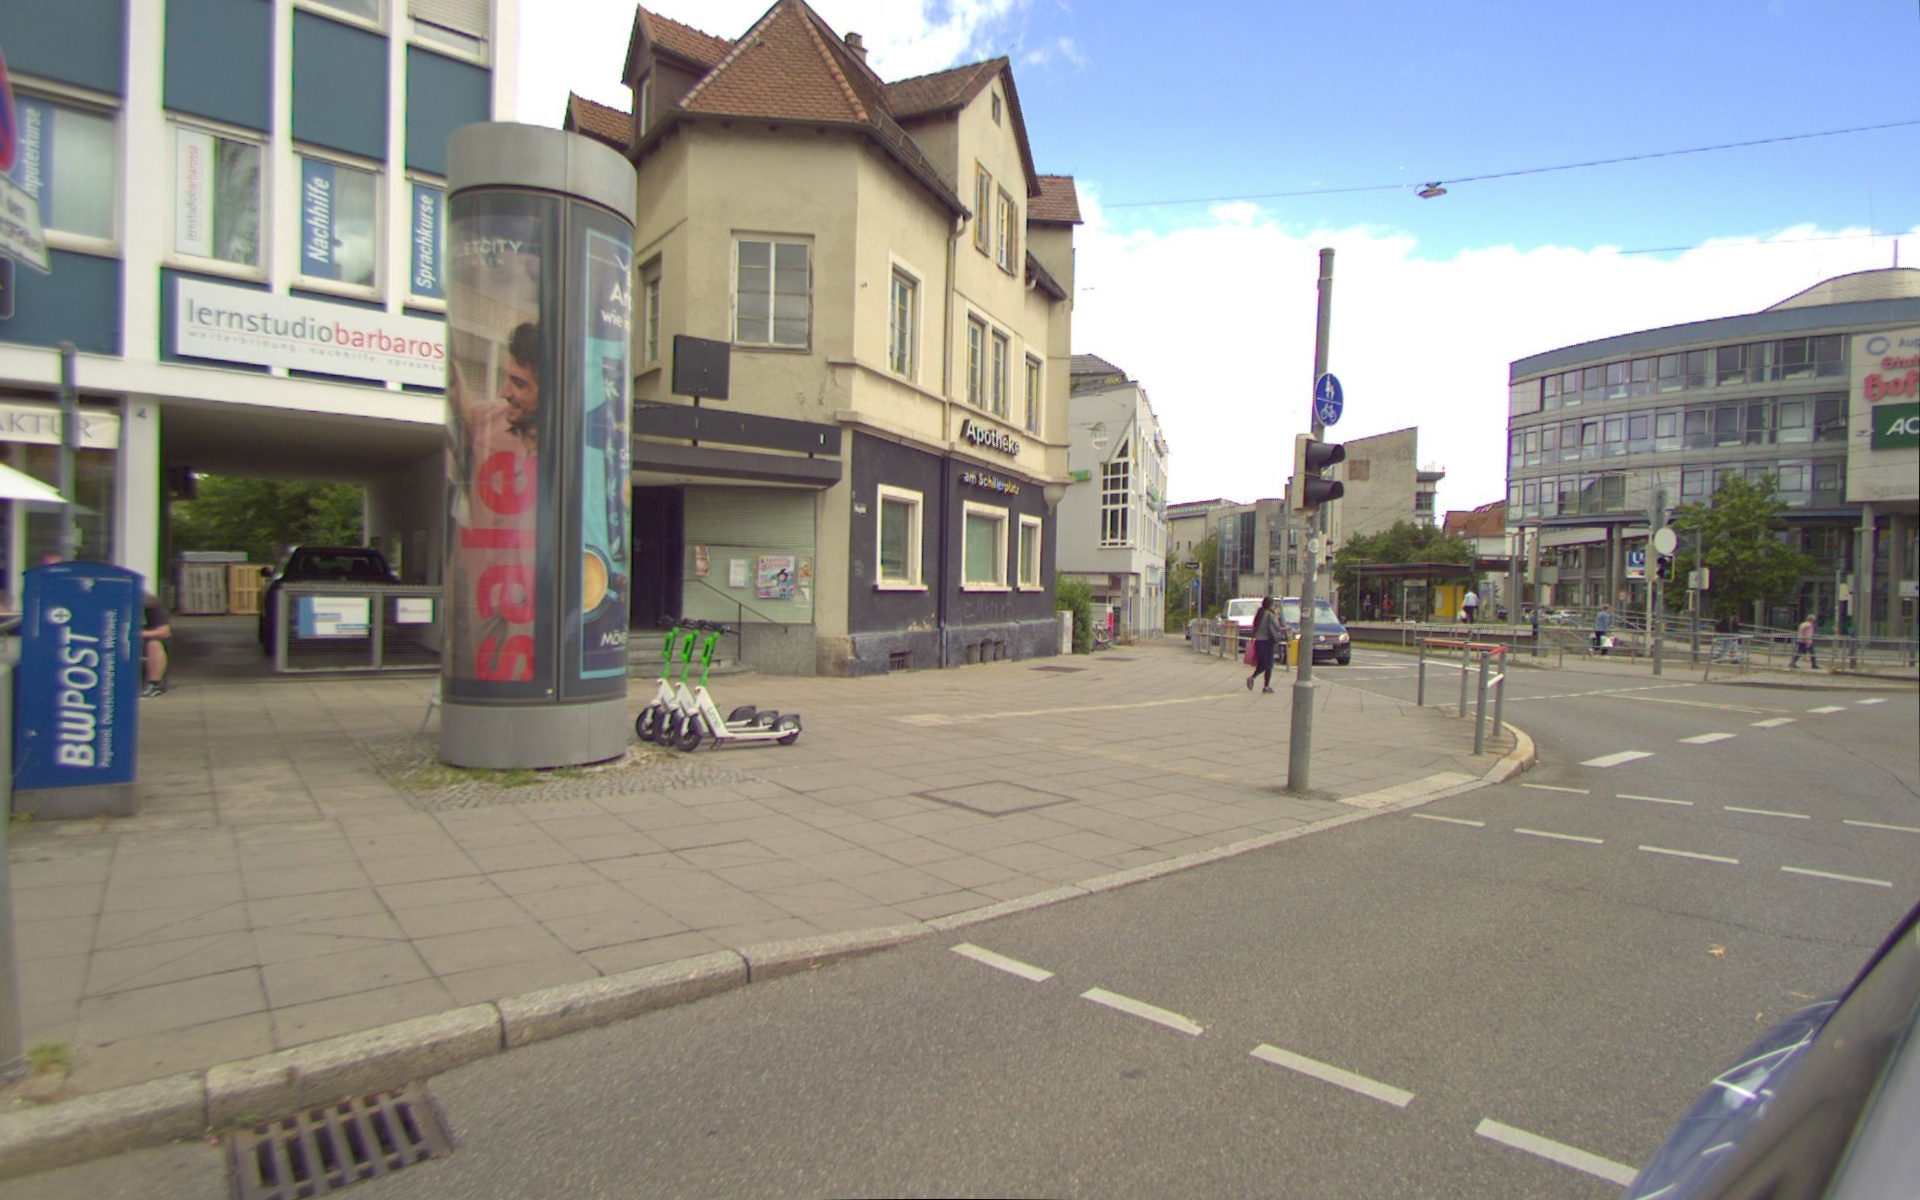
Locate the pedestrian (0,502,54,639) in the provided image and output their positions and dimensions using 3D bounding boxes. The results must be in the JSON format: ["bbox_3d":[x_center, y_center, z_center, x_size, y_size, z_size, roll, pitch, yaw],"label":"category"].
[{"bbox_3d":[-10.440,-0.308,11.186,0.577,1.480,0.614,2,-3,-40],"label":"pedestrian"}]

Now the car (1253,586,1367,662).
[{"bbox_3d":[9.672,0.591,28.377,1.847,1.919,4.921,1,0,5],"label":"car"}]

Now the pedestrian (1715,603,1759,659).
[{"bbox_3d":[23.481,0.929,30.599,0.834,1.656,0.641,-1,-2,18],"label":"pedestrian"}]

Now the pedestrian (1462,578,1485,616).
[{"bbox_3d":[24.029,-0.129,47.351,0.682,1.766,0.615,0,-2,-3],"label":"pedestrian"}]

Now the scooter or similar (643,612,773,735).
[{"bbox_3d":[-2.468,0.699,9.976,1.186,1.147,0.315,1,0,-38],"label":"scooter or similar"}]

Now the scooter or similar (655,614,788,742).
[{"bbox_3d":[-2.259,0.720,9.641,1.186,1.147,0.315,1,0,-38],"label":"scooter or similar"}]

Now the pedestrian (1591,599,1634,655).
[{"bbox_3d":[20.304,0.820,31.497,0.793,1.668,0.886,1,0,8],"label":"pedestrian"}]

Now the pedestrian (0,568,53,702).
[{"bbox_3d":[-9.130,0.323,9.729,0.577,1.235,0.614,2,1,-41],"label":"pedestrian"}]

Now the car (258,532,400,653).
[{"bbox_3d":[-10.179,-0.126,16.202,1.702,1.687,3.979,1,0,-35],"label":"car"}]

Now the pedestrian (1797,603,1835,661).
[{"bbox_3d":[24.712,0.924,29.215,0.577,1.656,0.525,0,-2,6],"label":"pedestrian"}]

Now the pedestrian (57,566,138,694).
[{"bbox_3d":[-8.662,0.301,10.174,0.577,1.236,0.614,2,-3,-41],"label":"pedestrian"}]

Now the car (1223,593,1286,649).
[{"bbox_3d":[10.819,0.702,37.491,1.851,1.919,4.910,1,0,12],"label":"car"}]

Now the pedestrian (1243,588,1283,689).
[{"bbox_3d":[5.051,0.633,16.860,0.580,1.643,0.739,-1,-2,19],"label":"pedestrian"}]

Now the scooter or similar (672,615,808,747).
[{"bbox_3d":[-2.021,0.721,9.386,1.186,1.147,0.315,1,0,-38],"label":"scooter or similar"}]
